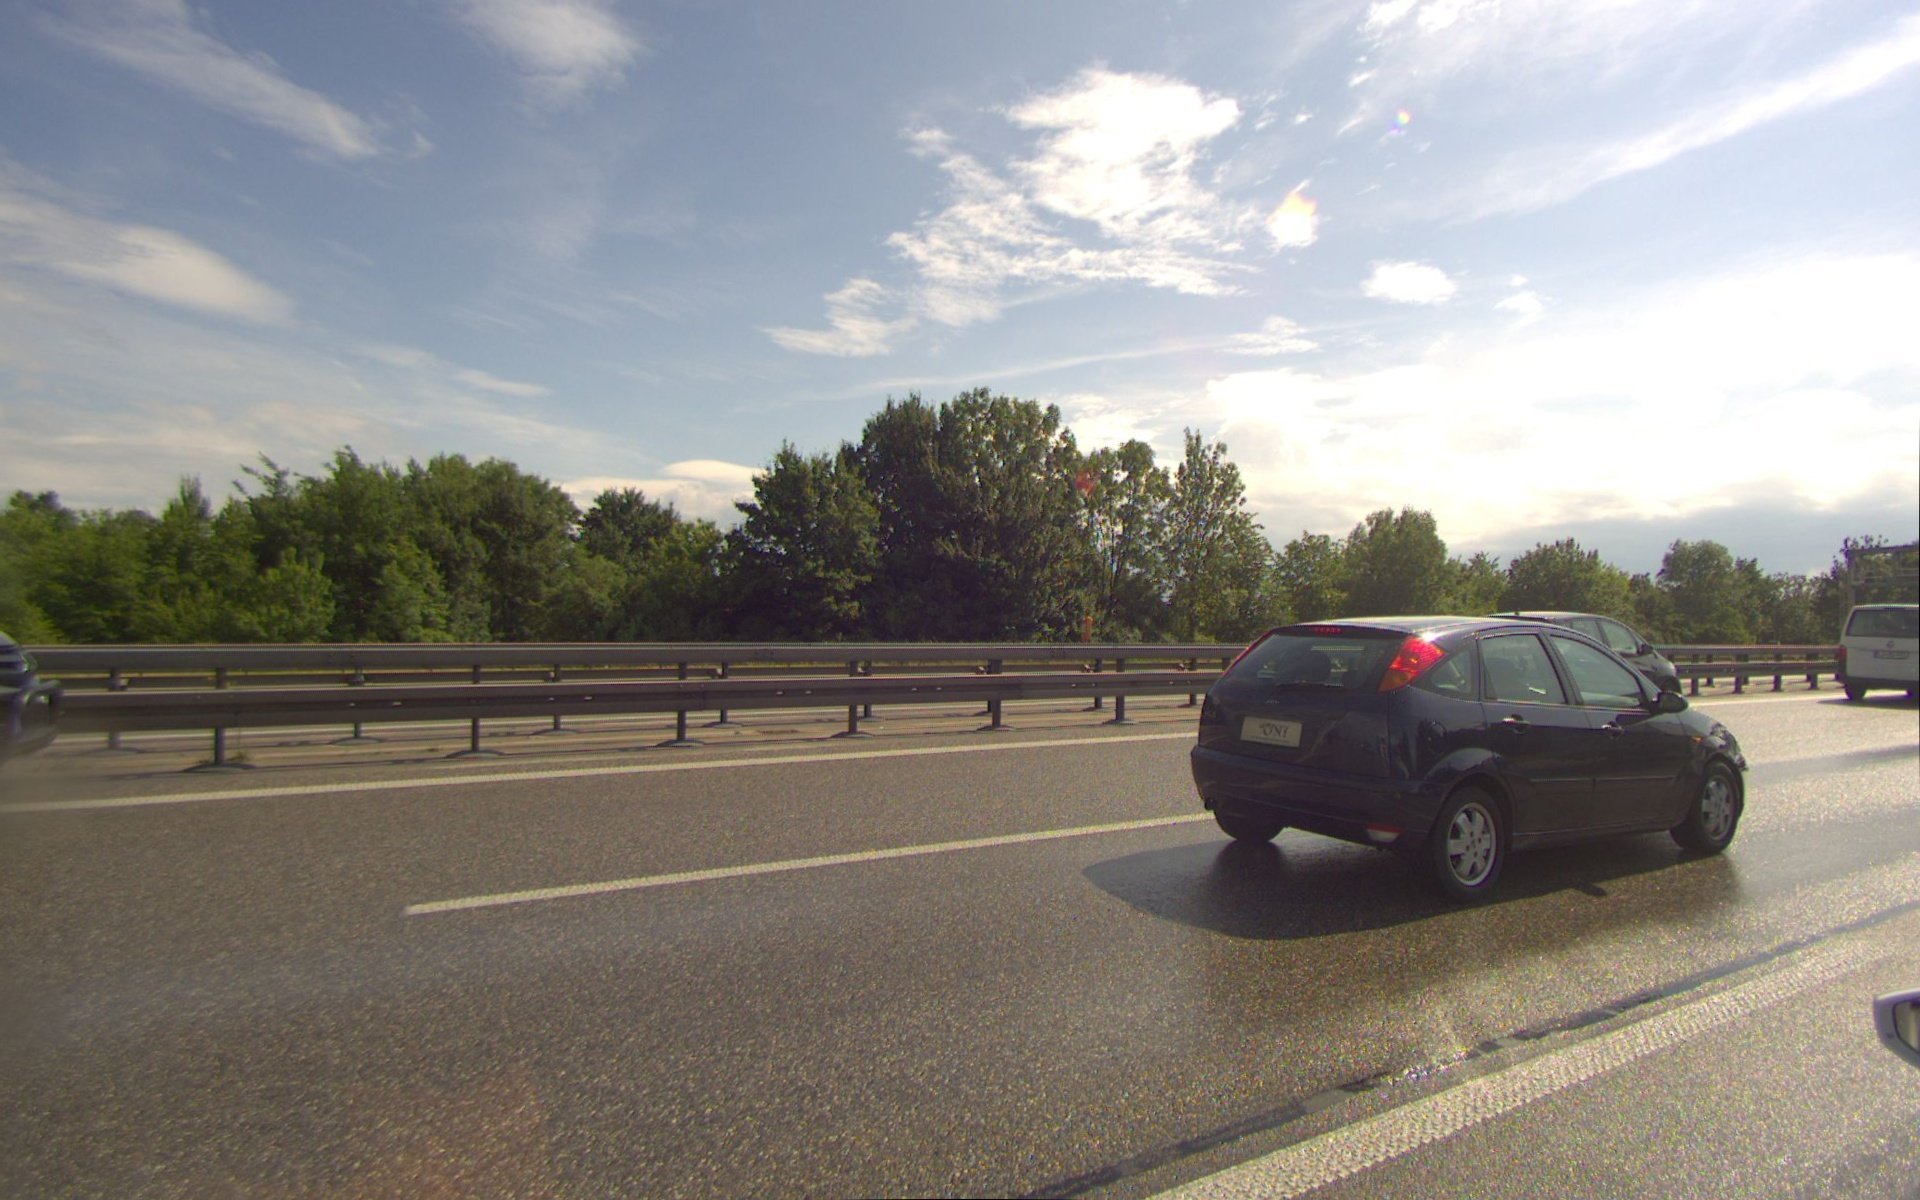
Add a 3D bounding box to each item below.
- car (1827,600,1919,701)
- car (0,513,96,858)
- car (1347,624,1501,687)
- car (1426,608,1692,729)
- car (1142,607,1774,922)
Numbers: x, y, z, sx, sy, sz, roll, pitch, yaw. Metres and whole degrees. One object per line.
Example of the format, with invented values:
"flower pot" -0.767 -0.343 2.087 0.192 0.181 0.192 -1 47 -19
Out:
"car" 20.481 1.030 21.225 4.959 1.959 1.838 1 0 -31
"car" -7.927 0.406 4.879 5.353 1.869 1.798 1 0 -30
"car" 11.991 1.389 25.916 3.953 1.483 1.670 1 0 -30
"car" 9.048 0.960 15.136 3.869 1.599 1.775 1 0 -30
"car" 3.280 0.819 6.473 3.952 1.462 1.750 1 0 -30
